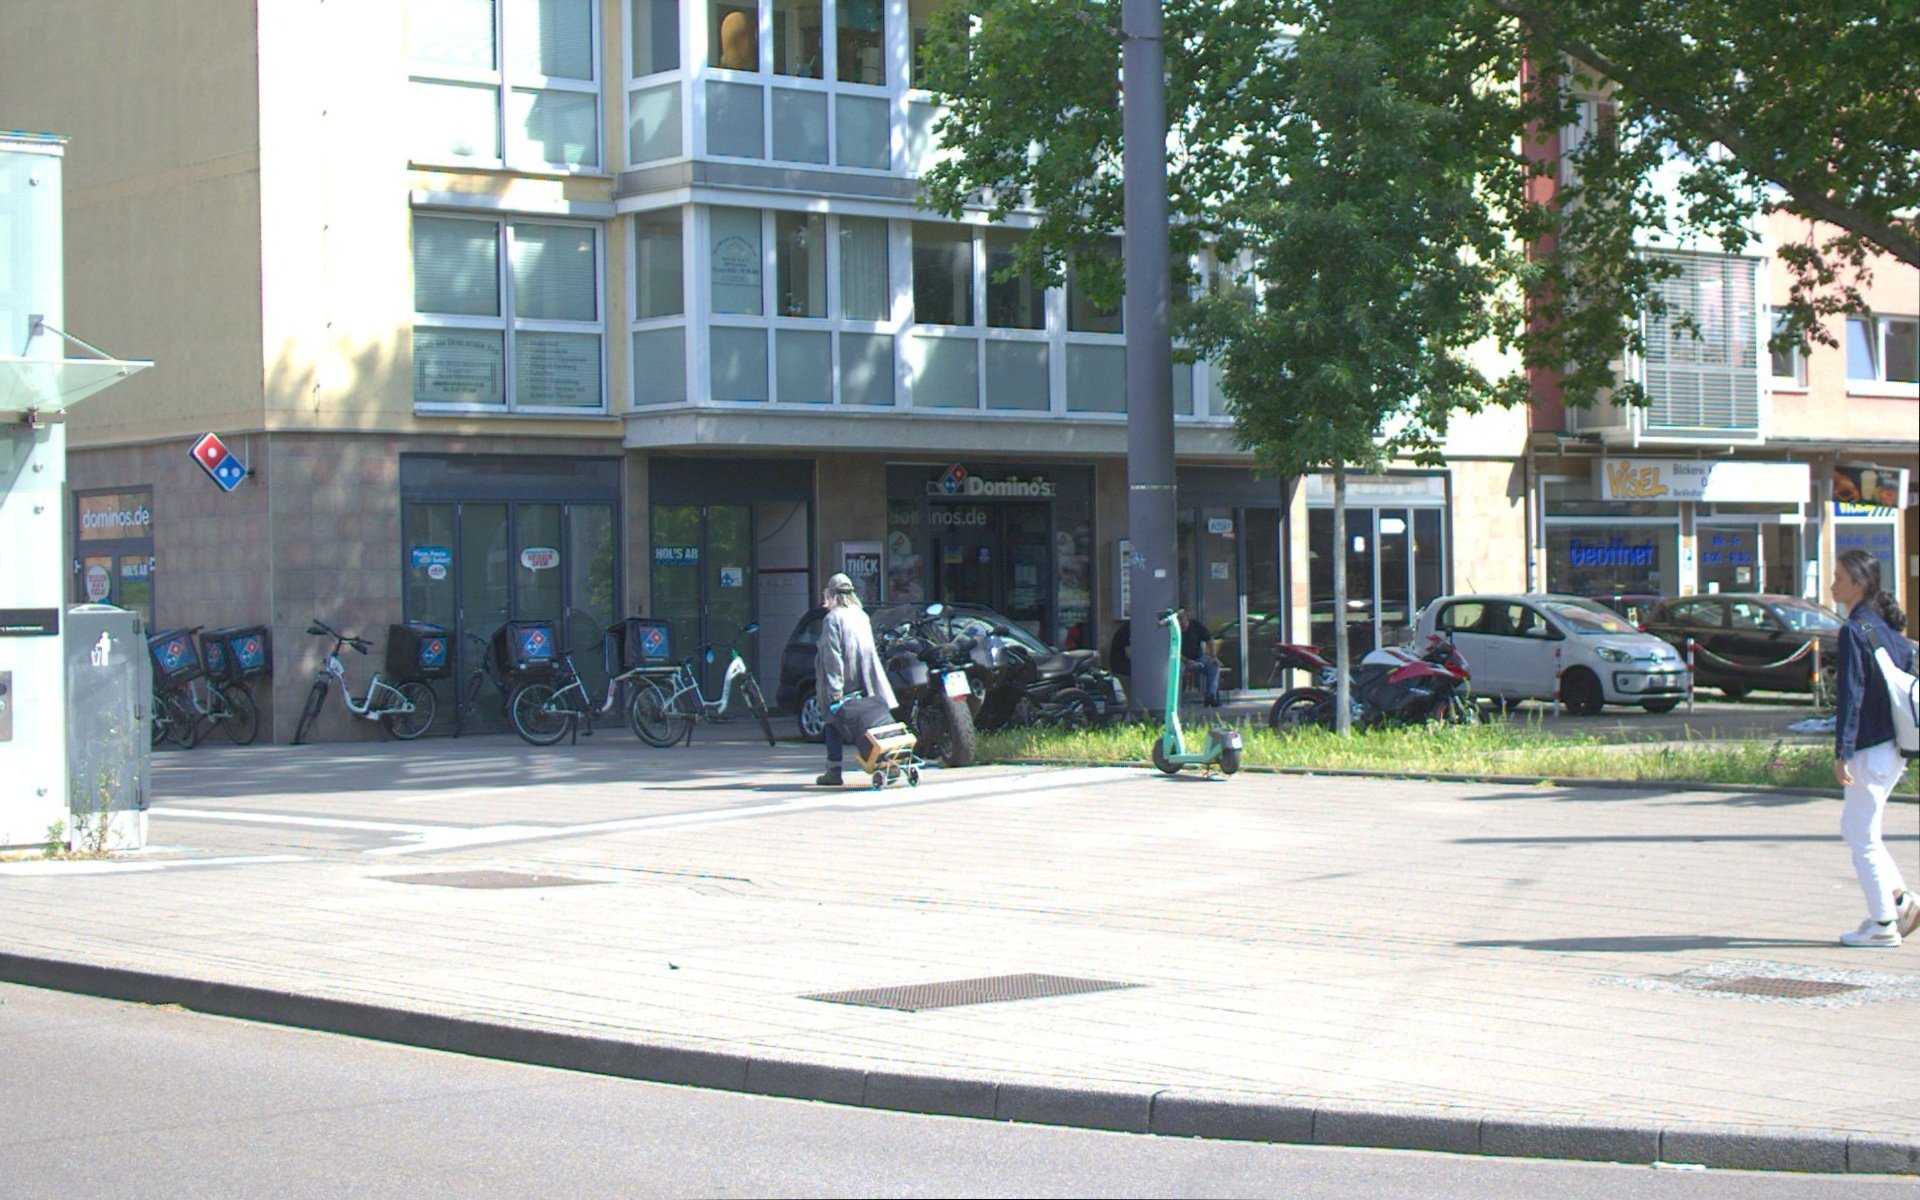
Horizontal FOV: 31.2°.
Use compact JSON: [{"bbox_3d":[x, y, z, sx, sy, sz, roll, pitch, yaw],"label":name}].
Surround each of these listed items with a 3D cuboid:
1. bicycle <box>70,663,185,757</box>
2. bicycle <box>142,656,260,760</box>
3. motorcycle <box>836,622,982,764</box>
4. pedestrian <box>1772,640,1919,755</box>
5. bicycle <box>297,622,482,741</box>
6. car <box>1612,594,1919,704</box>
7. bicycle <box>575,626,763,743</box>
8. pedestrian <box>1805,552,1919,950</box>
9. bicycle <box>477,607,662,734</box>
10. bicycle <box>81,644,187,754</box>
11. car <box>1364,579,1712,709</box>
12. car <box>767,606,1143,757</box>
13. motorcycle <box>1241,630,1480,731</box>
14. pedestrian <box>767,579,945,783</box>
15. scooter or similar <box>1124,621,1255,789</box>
[{"bbox_3d":[-9.019,1.178,37.210,0.582,0.962,1.756,-2,0,-35],"label":"bicycle"},{"bbox_3d":[-7.941,1.116,35.931,0.582,1.039,1.756,-2,0,-34],"label":"bicycle"},{"bbox_3d":[-0.423,0.712,27.154,0.638,1.058,2.039,-1,0,-16],"label":"motorcycle"},{"bbox_3d":[7.353,0.782,27.974,0.820,0.889,1.175,-1,0,-42],"label":"pedestrian"},{"bbox_3d":[-6.008,0.845,36.261,1.884,1.182,0.541,-1,0,-38],"label":"bicycle"},{"bbox_3d":[10.746,0.616,45.362,1.738,1.266,3.999,-1,2,-40],"label":"car"},{"bbox_3d":[-2.901,0.834,34.355,1.751,1.082,0.584,-2,0,-30],"label":"bicycle"},{"bbox_3d":[3.777,0.608,14.187,0.454,1.599,0.399,1,2,31],"label":"pedestrian"},{"bbox_3d":[-3.986,0.710,35.106,1.751,1.215,0.584,-2,0,-30],"label":"bicycle"},{"bbox_3d":[-8.606,1.018,35.780,0.582,1.082,1.757,-4,1,-28],"label":"bicycle"},{"bbox_3d":[7.123,0.507,42.661,1.885,1.435,3.999,-1,2,-40],"label":"car"},{"bbox_3d":[-0.109,0.840,35.770,1.654,1.465,4.091,3,-2,-40],"label":"car"},{"bbox_3d":[3.535,0.707,30.284,2.032,0.839,0.640,-1,0,11],"label":"motorcycle"},{"bbox_3d":[-0.746,0.563,24.461,0.655,1.399,1.117,-2,1,-44],"label":"pedestrian"},{"bbox_3d":[1.595,0.716,24.040,0.515,1.116,1.364,-1,0,-13],"label":"scooter or similar"}]
